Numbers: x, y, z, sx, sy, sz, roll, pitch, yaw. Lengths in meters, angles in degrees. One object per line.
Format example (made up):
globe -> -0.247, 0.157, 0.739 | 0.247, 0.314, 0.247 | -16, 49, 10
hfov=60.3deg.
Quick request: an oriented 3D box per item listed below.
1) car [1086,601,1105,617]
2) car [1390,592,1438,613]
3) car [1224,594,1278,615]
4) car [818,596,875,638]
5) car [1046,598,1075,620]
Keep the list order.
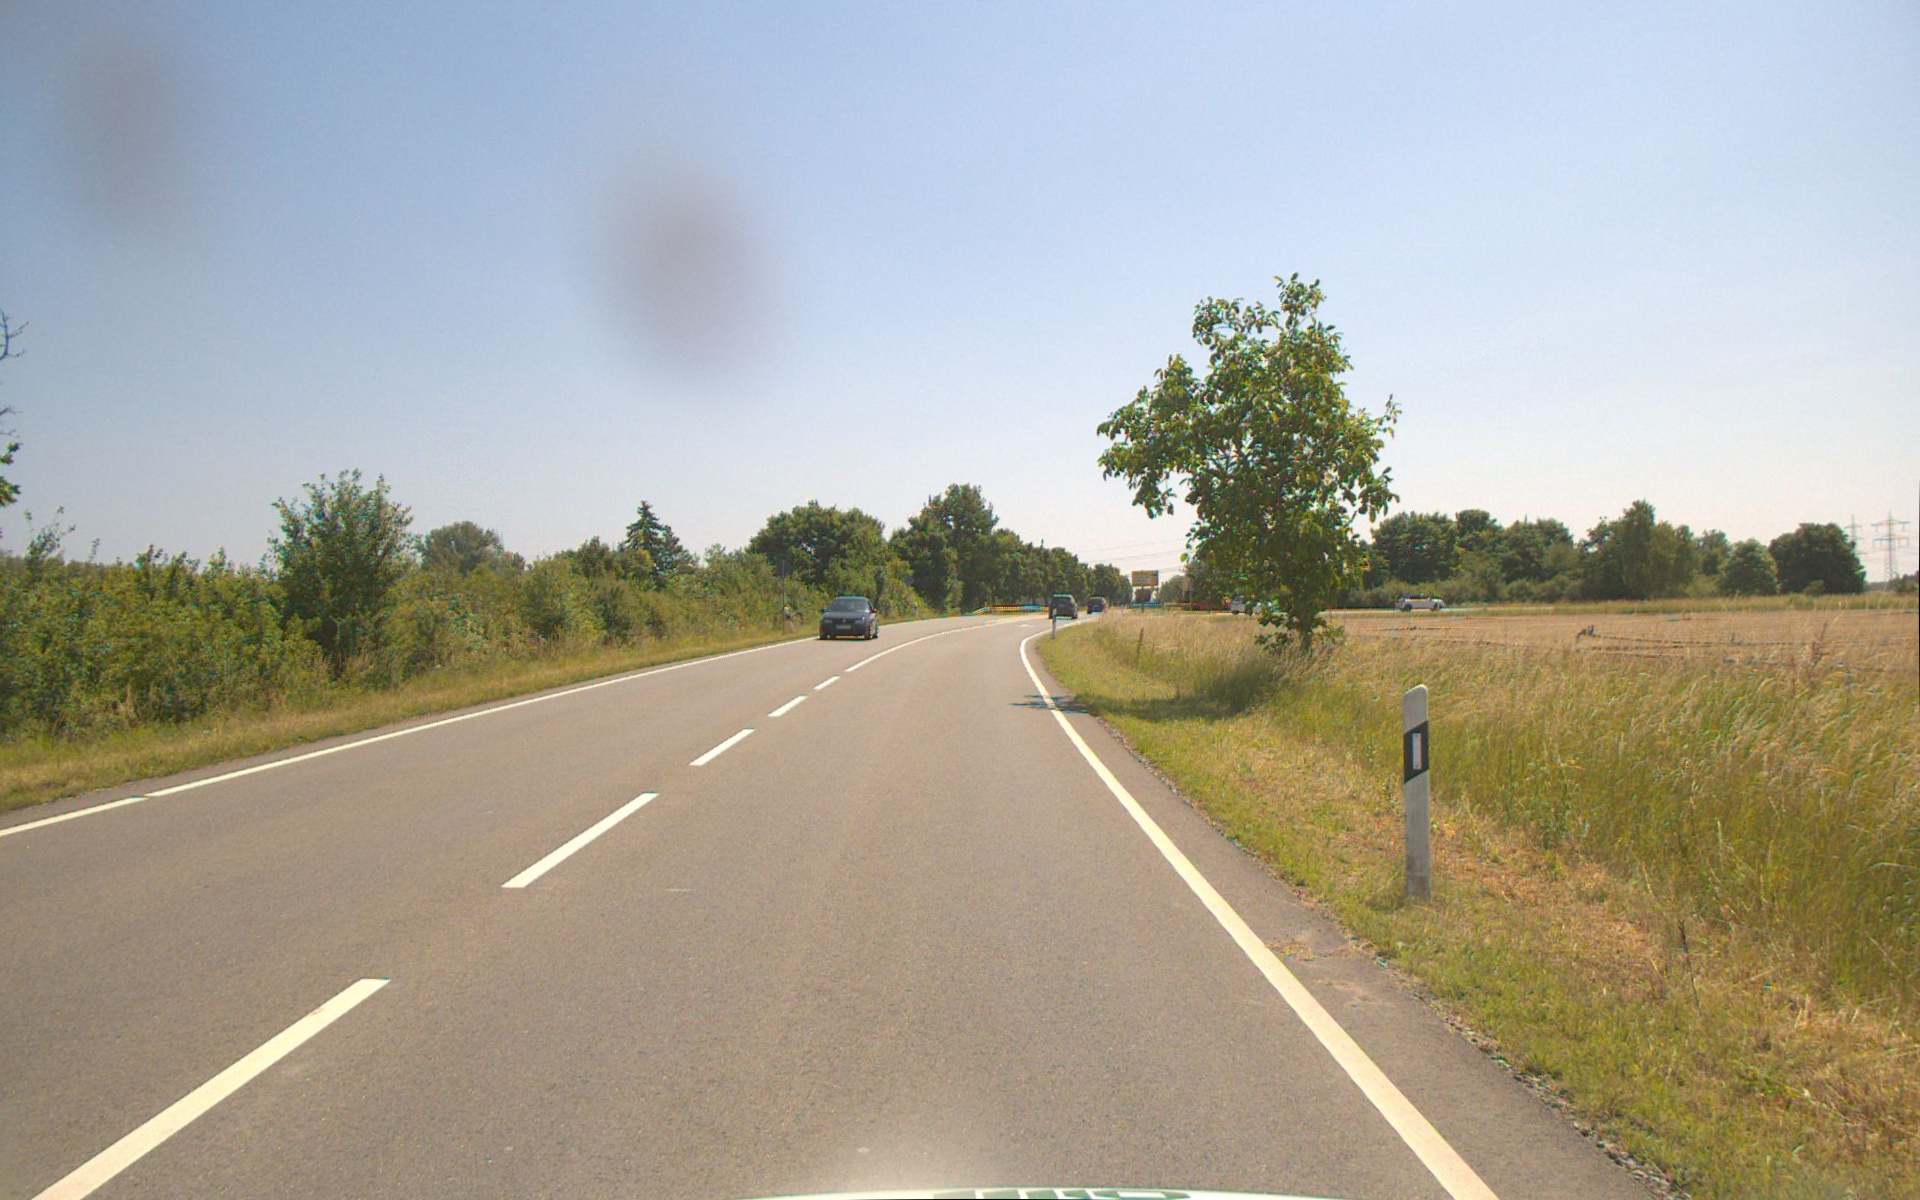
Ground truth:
car -> 12.482, 0.822, 152.066 | 1.609, 1.364, 4.042 | 1, 0, 7
car -> 39.013, 0.213, 142.197 | 3.902, 1.652, 1.646 | -1, 0, 13
car -> 24.523, 0.354, 139.236 | 4.083, 1.652, 2.051 | -1, 0, -29
car -> -3.814, 0.564, 56.101 | 1.658, 1.386, 3.826 | 1, 0, 0
car -> 7.131, 0.641, 116.996 | 1.844, 1.544, 4.042 | 1, 0, 7
